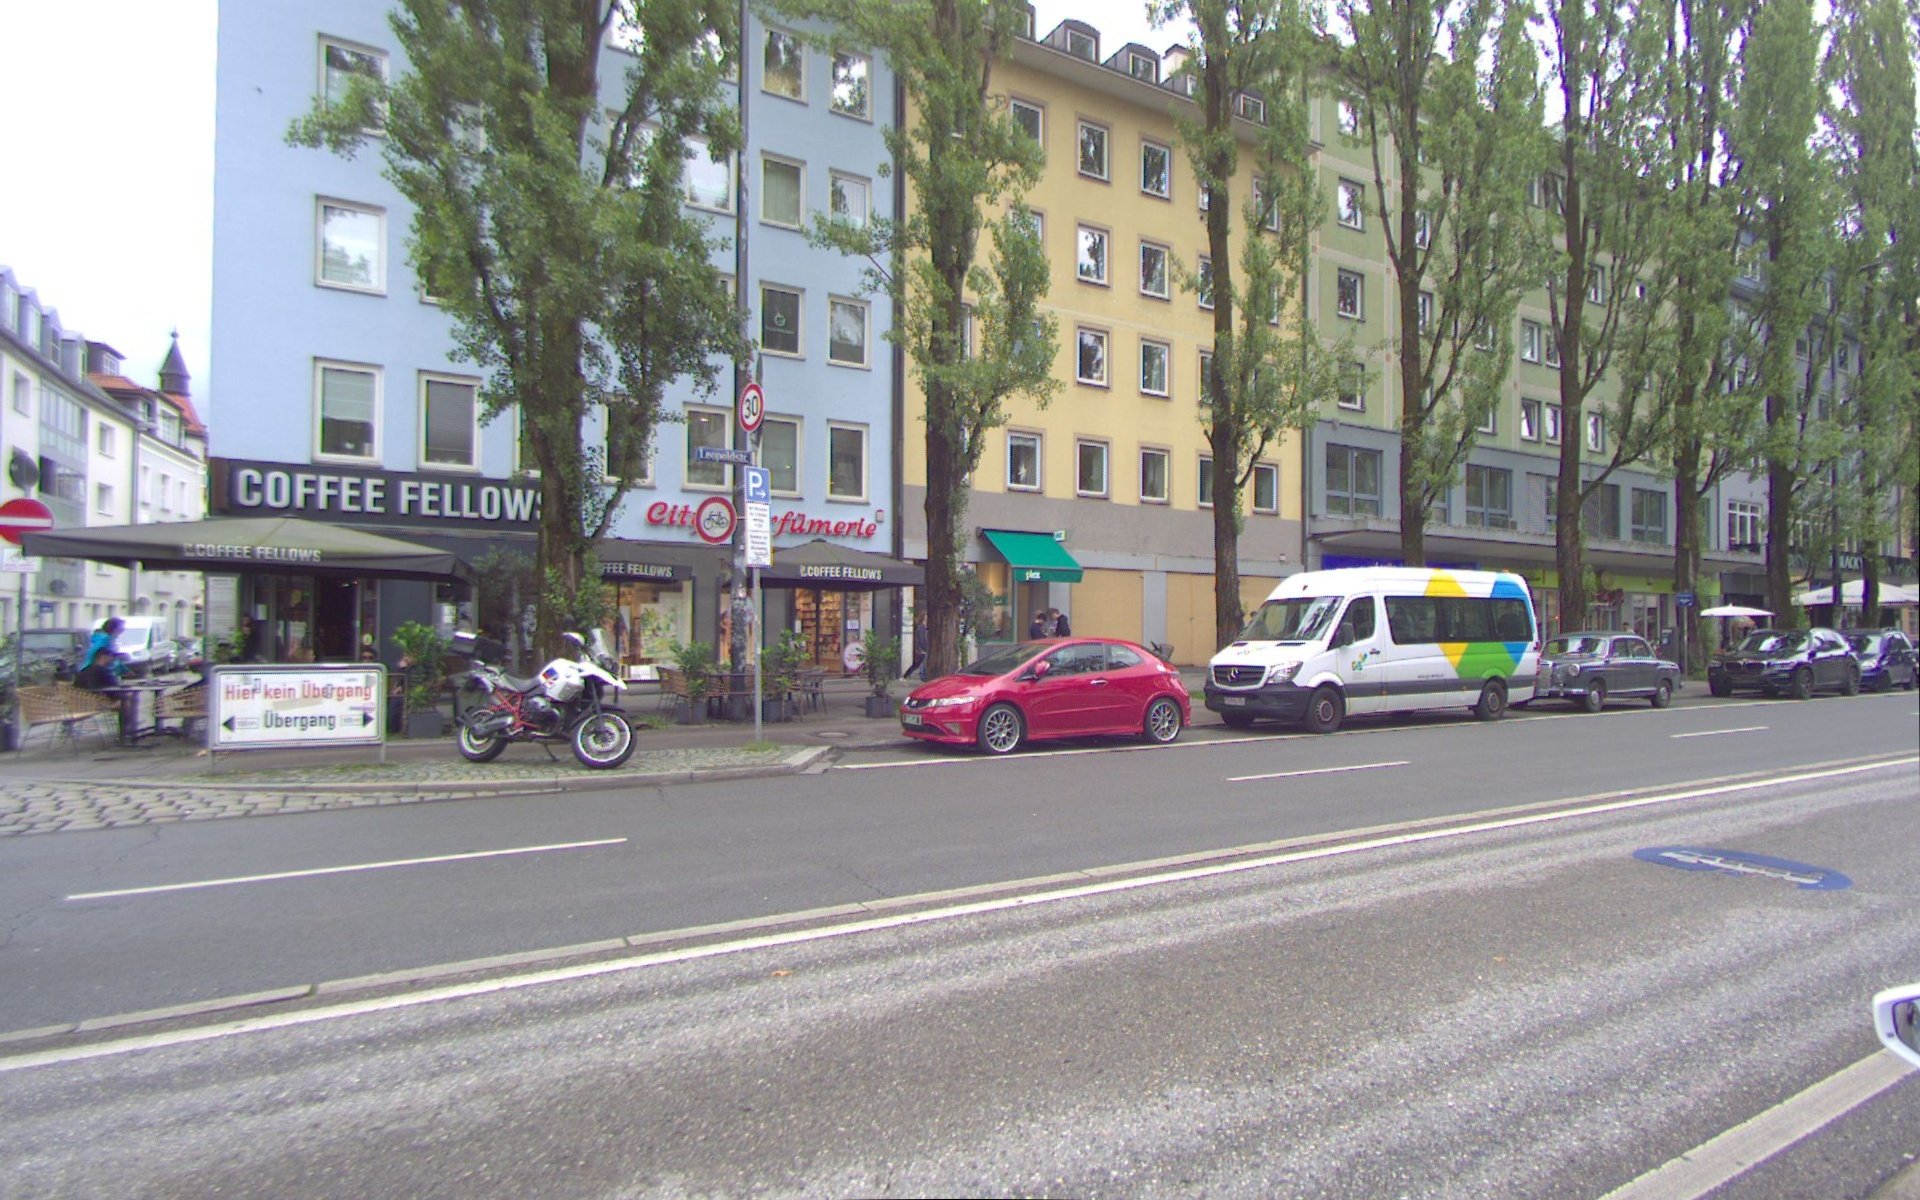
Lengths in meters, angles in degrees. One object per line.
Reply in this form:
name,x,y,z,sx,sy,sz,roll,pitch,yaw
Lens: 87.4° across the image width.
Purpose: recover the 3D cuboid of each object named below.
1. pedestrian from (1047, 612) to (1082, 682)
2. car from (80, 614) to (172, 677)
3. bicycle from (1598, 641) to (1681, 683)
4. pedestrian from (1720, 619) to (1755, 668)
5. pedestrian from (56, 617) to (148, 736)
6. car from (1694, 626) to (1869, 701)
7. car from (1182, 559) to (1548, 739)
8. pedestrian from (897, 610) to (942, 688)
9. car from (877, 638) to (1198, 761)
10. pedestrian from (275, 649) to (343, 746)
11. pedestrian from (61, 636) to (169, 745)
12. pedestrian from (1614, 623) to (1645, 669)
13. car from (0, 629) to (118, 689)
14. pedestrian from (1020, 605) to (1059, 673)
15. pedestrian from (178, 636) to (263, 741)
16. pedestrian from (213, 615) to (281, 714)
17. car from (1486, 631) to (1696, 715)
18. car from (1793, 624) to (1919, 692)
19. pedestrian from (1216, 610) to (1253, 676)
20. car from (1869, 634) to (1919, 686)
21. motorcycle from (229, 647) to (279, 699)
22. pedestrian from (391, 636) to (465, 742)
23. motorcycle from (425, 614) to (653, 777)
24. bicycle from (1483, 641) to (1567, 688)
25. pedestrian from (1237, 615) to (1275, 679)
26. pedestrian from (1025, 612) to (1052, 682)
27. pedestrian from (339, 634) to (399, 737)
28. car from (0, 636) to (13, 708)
pedestrian,2.498,1.116,23.990,0.713,1.657,0.699,0,-1,-6
car,-33.644,1.837,40.647,1.959,2.396,4.554,1,-3,-29
bicycle,20.405,1.848,30.210,0.712,1.110,1.933,1,1,-36
pedestrian,27.430,1.535,35.427,0.667,1.708,0.753,2,-2,-29
pedestrian,-12.543,1.098,14.690,0.690,1.668,0.944,-1,-2,44
car,20.262,1.518,24.741,4.557,1.686,1.858,1,-3,-30
car,7.031,0.808,17.072,6.831,2.601,1.996,1,-3,-30
pedestrian,-0.911,1.094,22.521,0.775,1.708,0.753,1,-2,-27
car,1.091,1.246,13.593,4.099,1.438,1.729,1,-3,-30
pedestrian,-8.497,1.244,13.135,0.692,1.198,0.811,1,-2,-31
pedestrian,-11.229,1.173,13.376,0.938,1.380,0.695,1,-2,-27
pedestrian,25.038,1.715,37.570,0.667,1.708,0.753,2,-2,-29
car,-28.924,1.867,32.265,2.093,1.789,4.551,1,-3,-30
pedestrian,1.988,0.979,25.206,0.718,1.657,0.695,1,-2,-28
pedestrian,-10.092,1.186,13.731,0.808,1.380,0.695,1,-2,-27
pedestrian,-13.405,1.191,18.888,0.933,1.796,0.699,-1,-2,30
car,13.054,1.442,20.728,4.362,1.572,1.858,1,-3,-30
car,24.729,1.571,27.630,3.880,1.743,1.700,1,-3,-33
pedestrian,7.702,1.212,28.236,0.717,1.818,0.695,1,-2,-25
car,29.277,1.768,30.089,4.299,1.508,1.790,1,-3,-30
motorcycle,-18.217,1.843,25.971,0.729,1.219,2.748,-1,-1,-28
pedestrian,-7.215,1.174,13.610,0.838,1.380,0.694,1,-2,-31
motorcycle,-4.448,0.951,10.612,2.301,1.584,0.715,0,0,18
bicycle,15.117,1.707,26.914,0.710,1.110,1.862,1,1,-27
pedestrian,8.106,1.287,27.492,0.717,1.722,0.695,1,-2,-25
pedestrian,1.885,1.130,24.165,0.553,1.657,0.699,0,-1,-6
pedestrian,-8.176,1.156,13.900,0.692,1.380,0.709,1,-2,-32
car,-24.039,1.708,23.290,1.960,1.789,4.551,1,-3,-30
